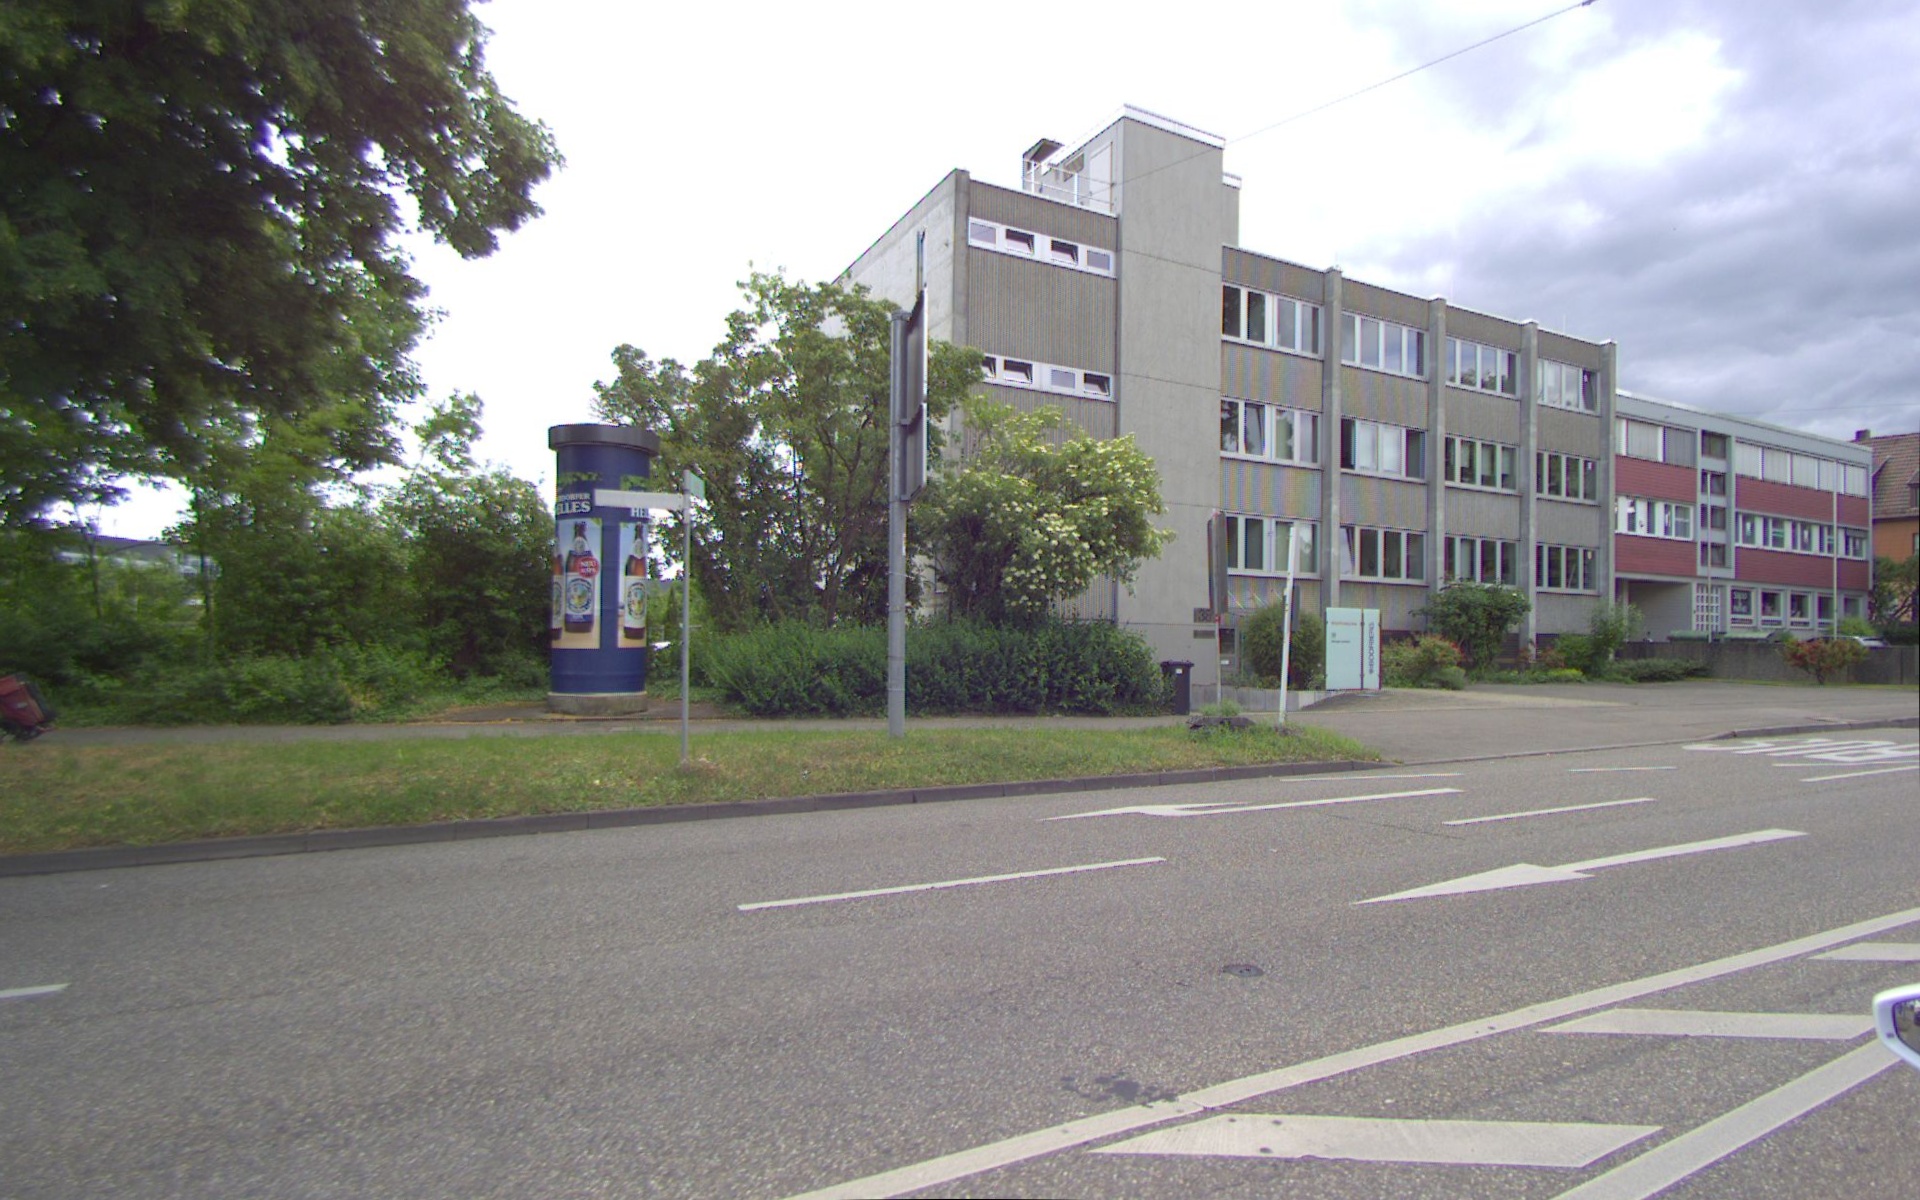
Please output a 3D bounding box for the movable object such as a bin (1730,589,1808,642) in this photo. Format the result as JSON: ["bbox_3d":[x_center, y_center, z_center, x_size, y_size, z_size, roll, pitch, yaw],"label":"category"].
[{"bbox_3d":[32.067,0.642,39.853,1.524,2.040,1.985,1,-2,-29],"label":"movable object such as a bin"}]

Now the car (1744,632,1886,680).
[{"bbox_3d":[34.411,2.219,40.531,1.834,1.814,3.967,1,-2,-31],"label":"car"}]

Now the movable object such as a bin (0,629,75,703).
[{"bbox_3d":[-10.588,0.729,11.244,0.887,0.808,0.652,1,-2,-31],"label":"movable object such as a bin"}]
